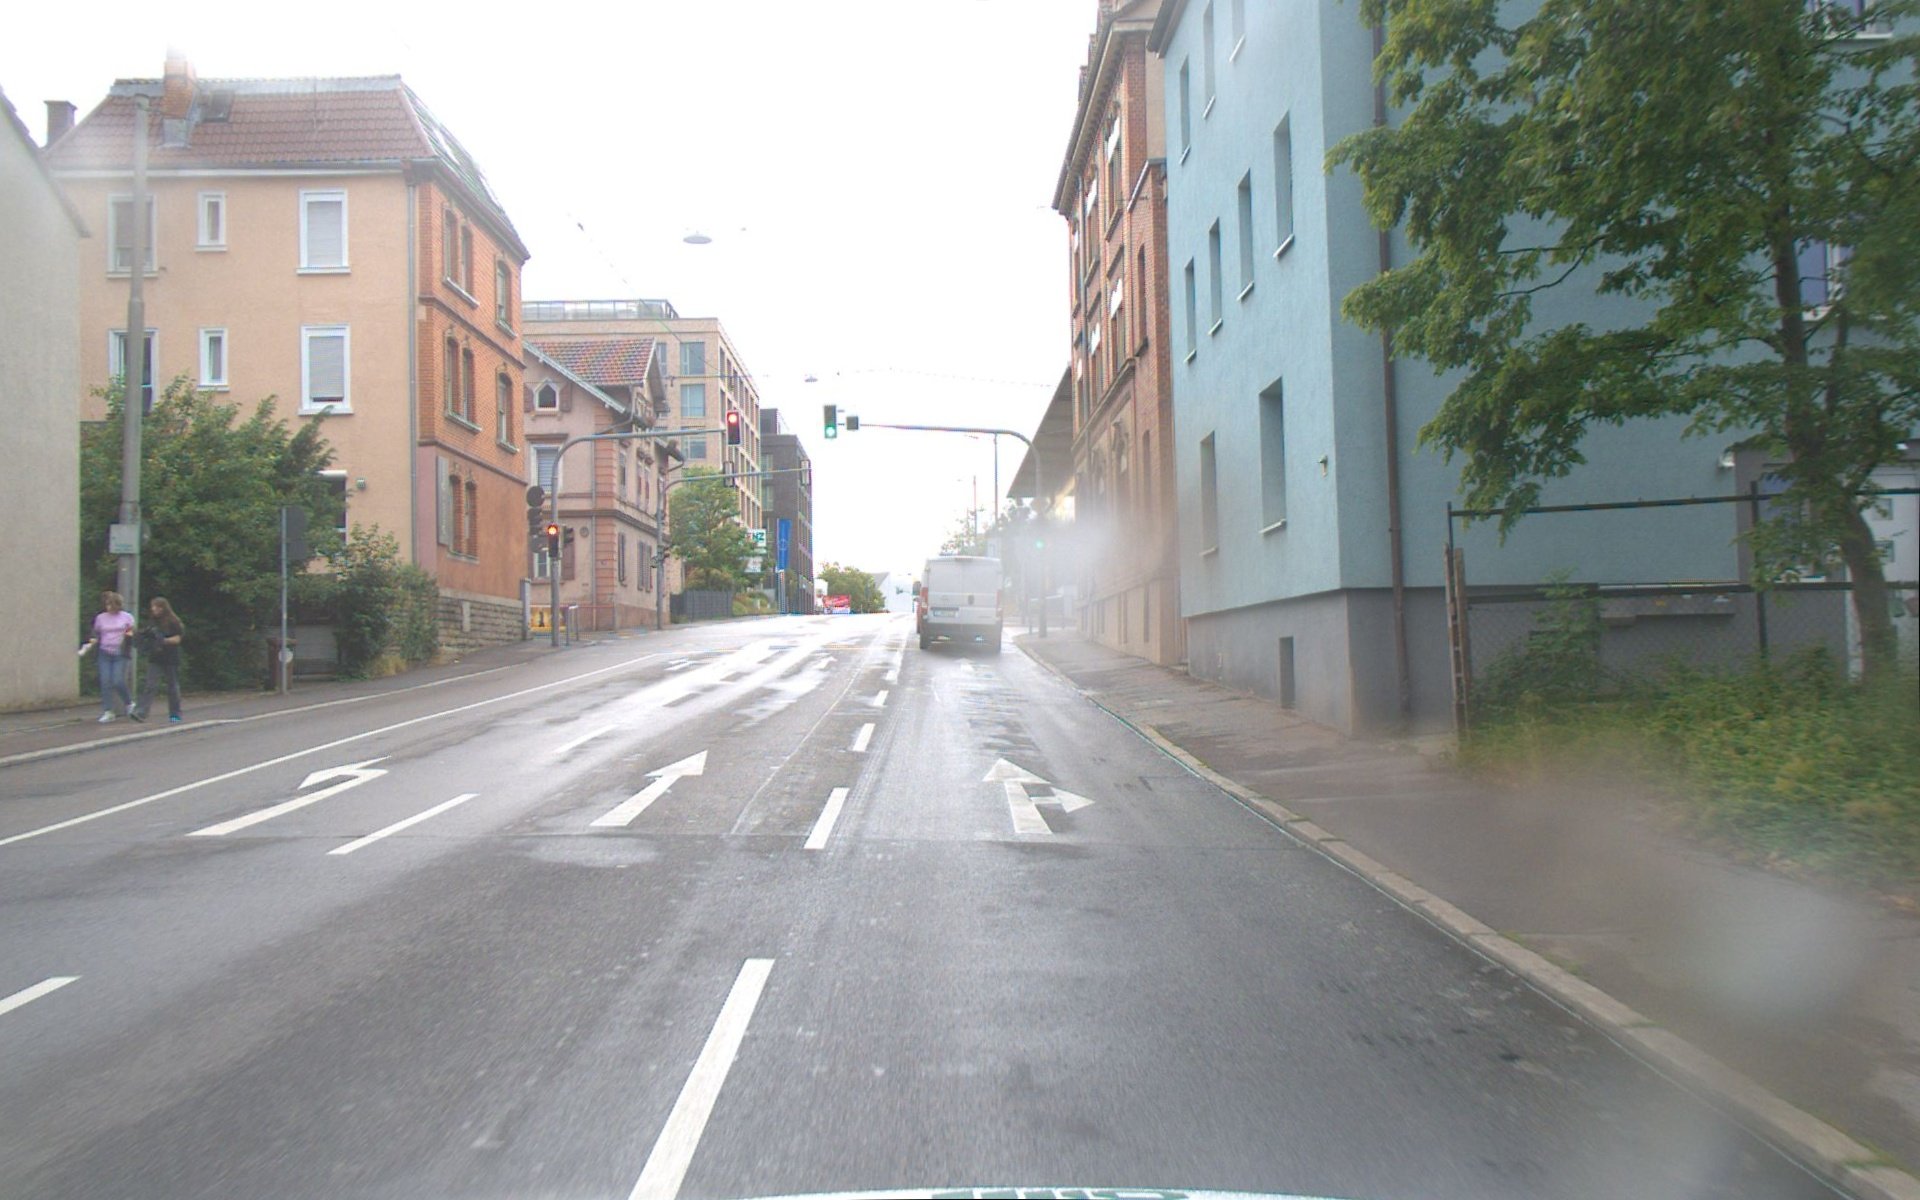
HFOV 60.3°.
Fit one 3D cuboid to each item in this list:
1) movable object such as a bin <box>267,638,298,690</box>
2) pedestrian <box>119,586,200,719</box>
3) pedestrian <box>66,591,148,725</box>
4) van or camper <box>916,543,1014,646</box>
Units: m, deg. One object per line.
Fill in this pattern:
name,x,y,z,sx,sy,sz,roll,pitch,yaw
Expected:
movable object such as a bin,-12.385,1.166,30.247,0.401,0.941,0.525,0,-1,-8
pedestrian,-10.634,0.684,21.992,0.627,1.736,0.911,0,0,-1
pedestrian,-11.314,0.750,21.960,0.627,1.736,0.911,0,0,-1
van or camper,0.093,-0.103,41.543,2.292,2.398,5.198,0,-1,-1
